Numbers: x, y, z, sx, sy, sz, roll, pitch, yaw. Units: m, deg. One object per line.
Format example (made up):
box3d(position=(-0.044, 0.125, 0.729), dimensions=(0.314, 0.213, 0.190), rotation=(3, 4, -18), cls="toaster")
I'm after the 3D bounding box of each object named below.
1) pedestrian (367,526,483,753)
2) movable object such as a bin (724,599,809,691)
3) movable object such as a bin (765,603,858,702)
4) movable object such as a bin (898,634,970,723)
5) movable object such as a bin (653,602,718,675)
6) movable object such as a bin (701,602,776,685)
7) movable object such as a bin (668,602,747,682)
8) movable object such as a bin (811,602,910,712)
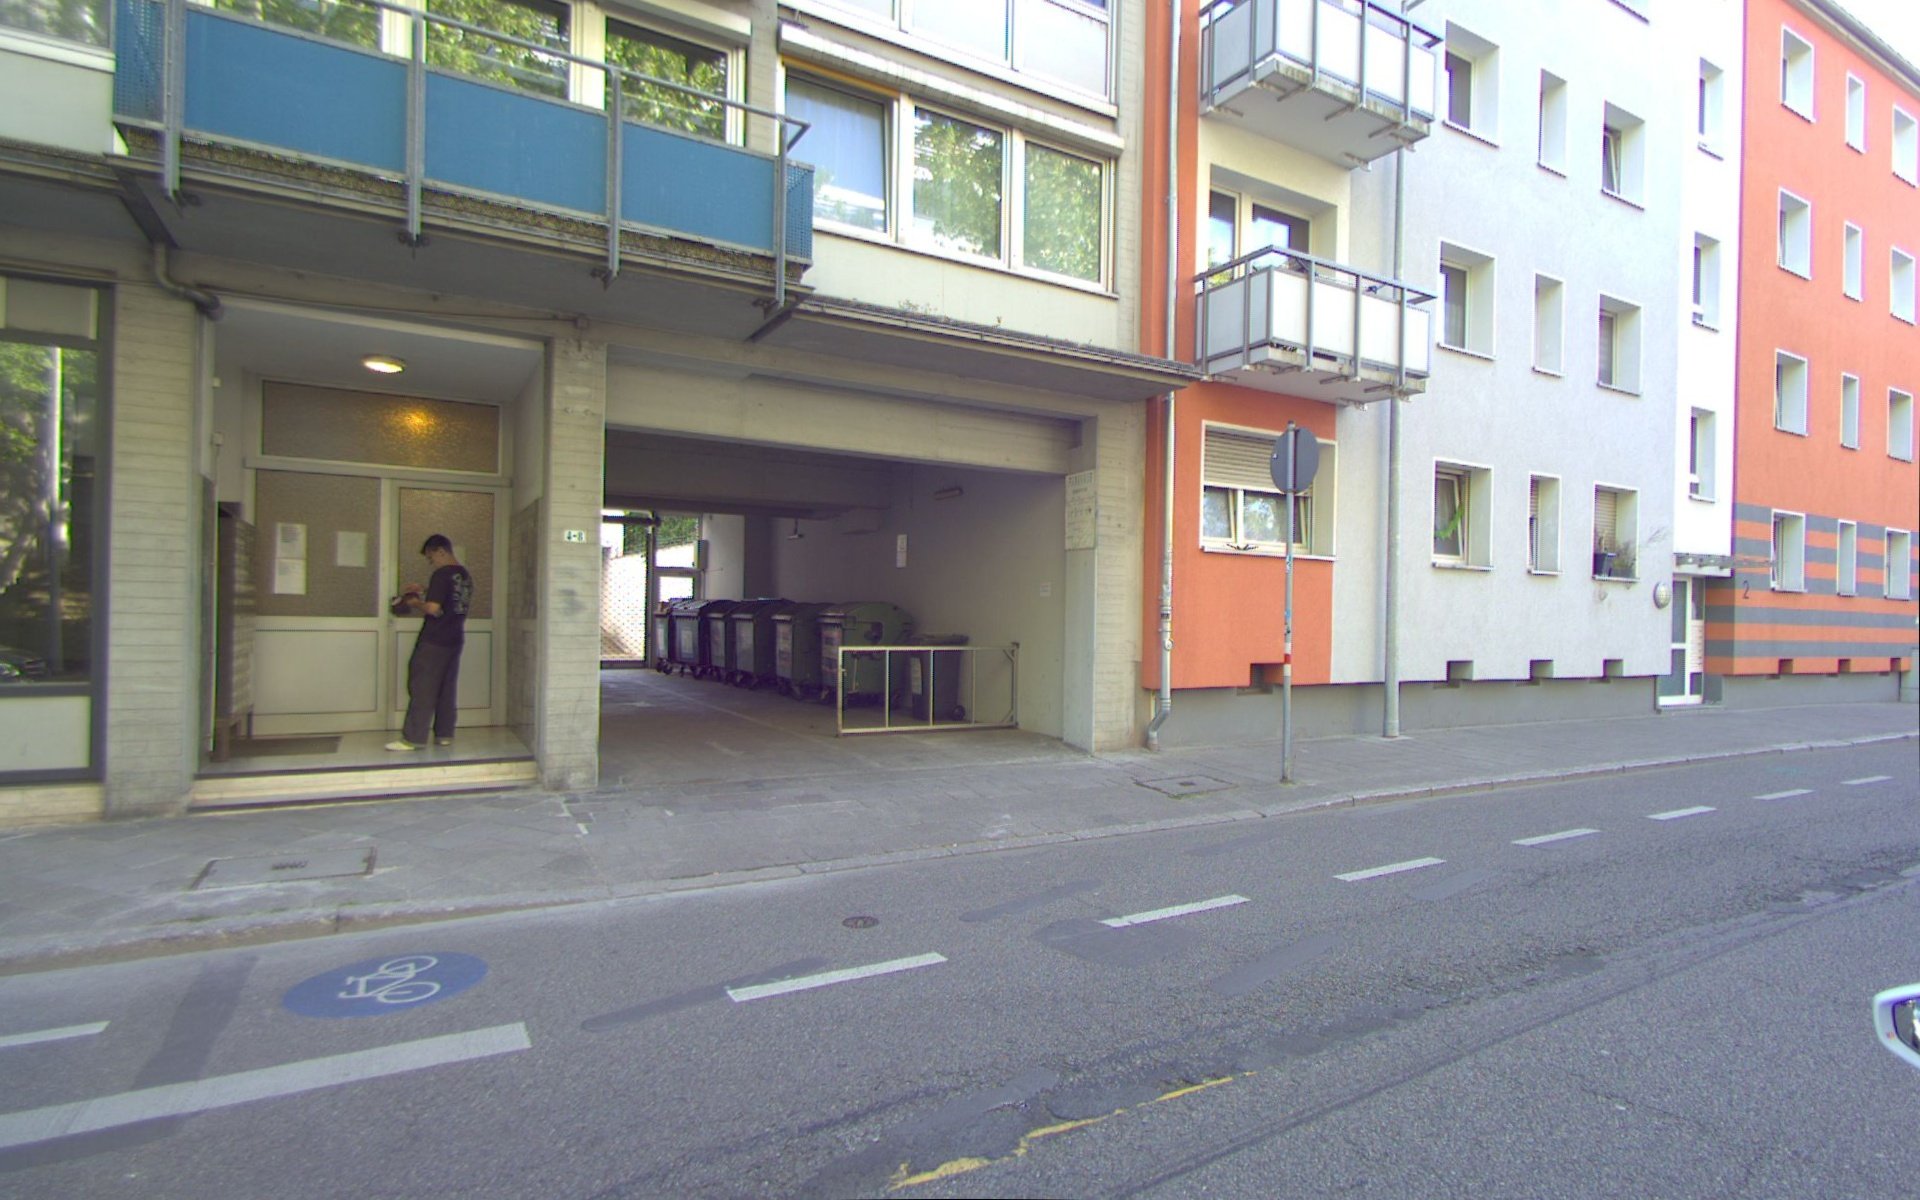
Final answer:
box3d(position=(-4.363, 0.305, 8.206), dimensions=(0.518, 1.764, 0.630), rotation=(1, 0, 27), cls="pedestrian")
box3d(position=(-3.244, 0.723, 16.765), dimensions=(1.011, 1.462, 1.317), rotation=(1, 0, -29), cls="movable object such as a bin")
box3d(position=(-2.274, 0.764, 15.245), dimensions=(1.011, 1.409, 1.319), rotation=(1, 0, -27), cls="movable object such as a bin")
box3d(position=(-0.326, 0.969, 12.589), dimensions=(0.704, 1.054, 0.583), rotation=(1, 0, -30), cls="movable object such as a bin")
box3d(position=(-5.534, 0.754, 20.213), dimensions=(1.010, 1.409, 1.246), rotation=(1, 0, -27), cls="movable object such as a bin")
box3d(position=(-3.931, 0.748, 17.801), dimensions=(1.012, 1.409, 1.046), rotation=(1, 0, -31), cls="movable object such as a bin")
box3d(position=(-4.722, 0.763, 18.756), dimensions=(1.014, 1.409, 1.264), rotation=(1, 0, -37), cls="movable object such as a bin")
box3d(position=(-1.395, 0.761, 13.937), dimensions=(1.009, 1.438, 1.320), rotation=(1, 0, -23), cls="movable object such as a bin")
